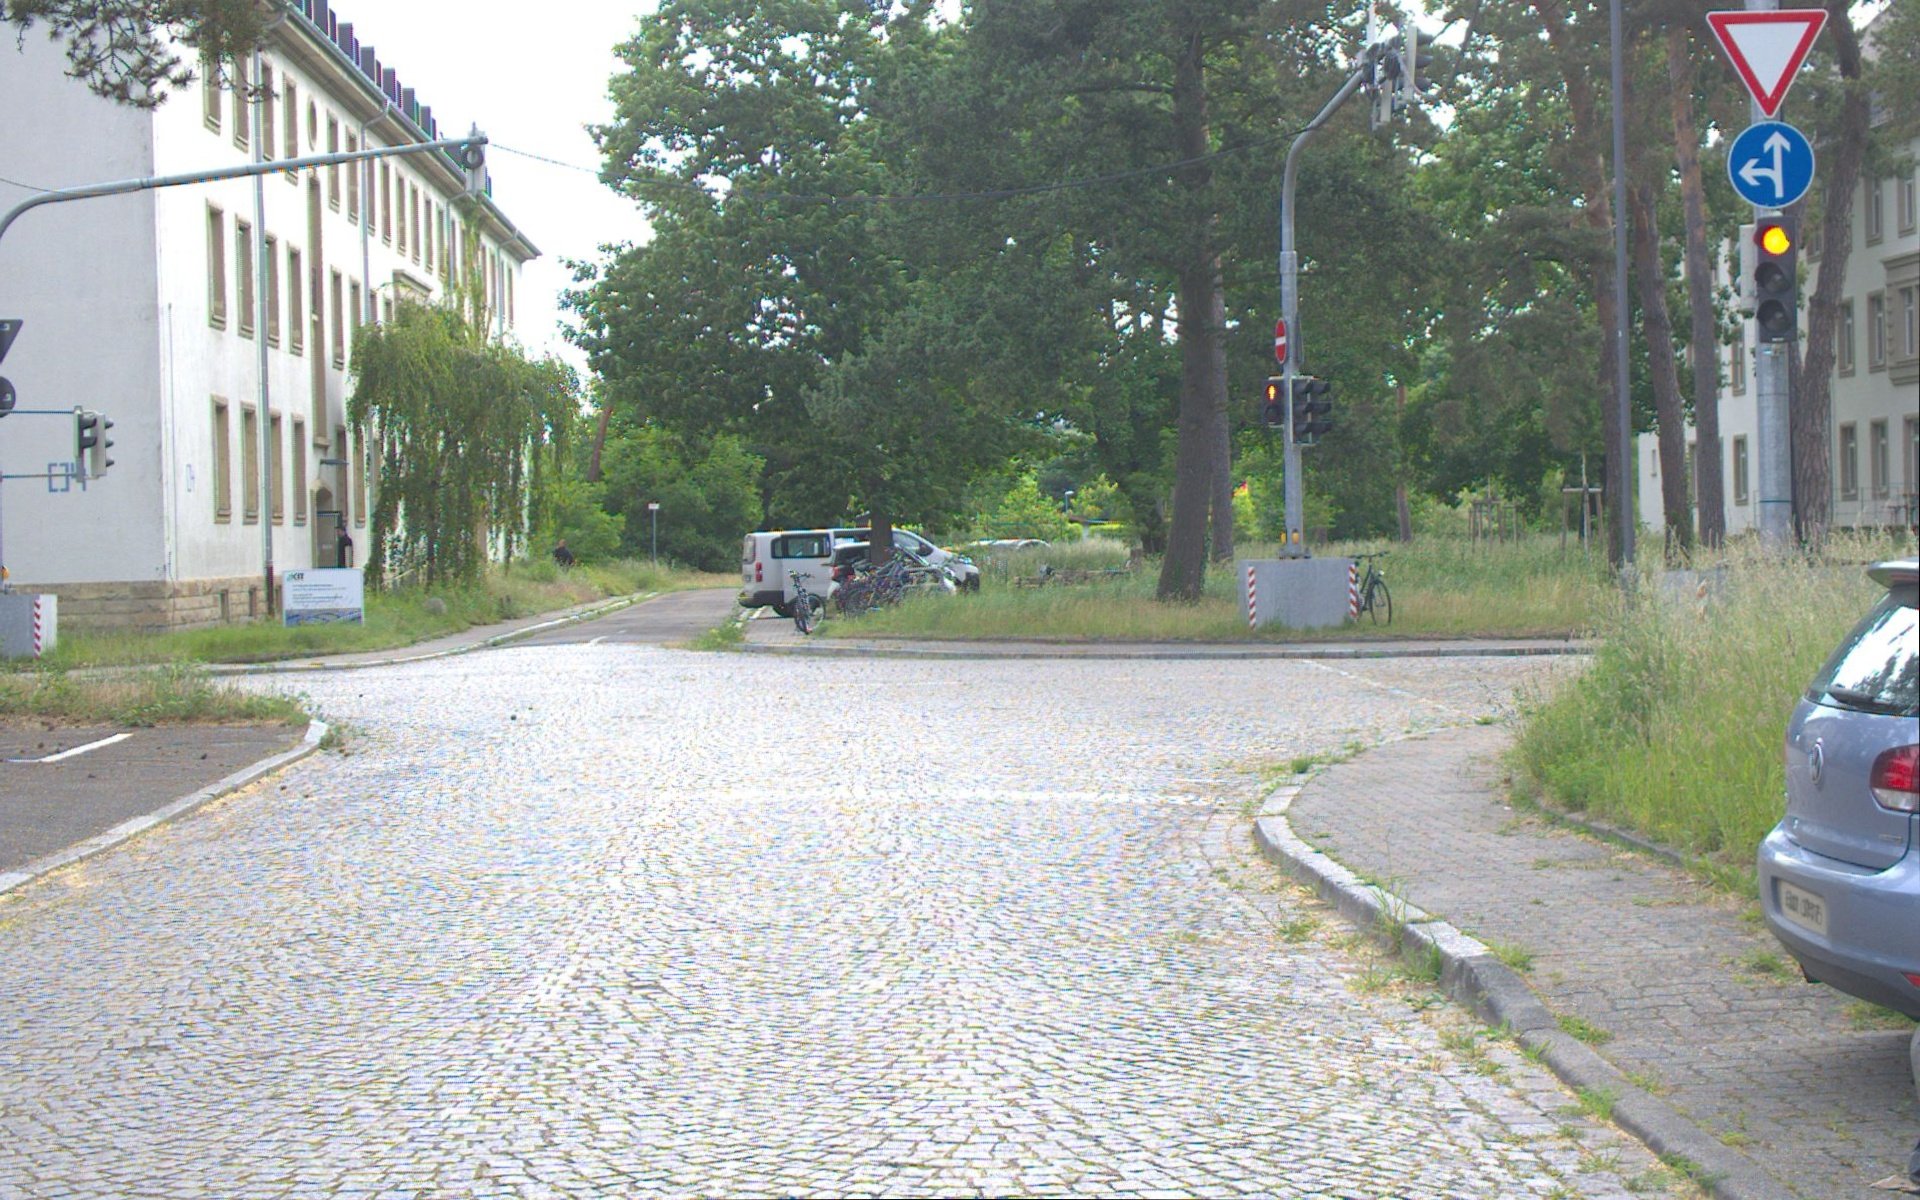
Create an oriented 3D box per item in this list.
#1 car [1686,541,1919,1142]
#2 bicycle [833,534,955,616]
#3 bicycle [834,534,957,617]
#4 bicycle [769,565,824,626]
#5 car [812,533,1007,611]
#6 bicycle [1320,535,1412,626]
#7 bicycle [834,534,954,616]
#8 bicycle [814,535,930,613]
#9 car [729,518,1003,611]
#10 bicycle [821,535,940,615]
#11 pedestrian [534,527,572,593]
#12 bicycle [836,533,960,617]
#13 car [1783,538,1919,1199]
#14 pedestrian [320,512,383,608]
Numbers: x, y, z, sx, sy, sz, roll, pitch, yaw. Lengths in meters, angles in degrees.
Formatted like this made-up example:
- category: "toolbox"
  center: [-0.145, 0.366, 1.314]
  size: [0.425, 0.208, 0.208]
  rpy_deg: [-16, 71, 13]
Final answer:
- category: "car"
  center: [4.040, 0.511, 9.232]
  size: [3.763, 1.421, 1.606]
  rpy_deg: [-2, 2, -2]
- category: "bicycle"
  center: [-1.137, -0.434, 59.572]
  size: [2.069, 1.373, 0.620]
  rpy_deg: [-1, 1, -1]
- category: "bicycle"
  center: [-1.113, -0.428, 58.948]
  size: [2.069, 1.373, 0.620]
  rpy_deg: [-1, 1, -1]
- category: "bicycle"
  center: [-2.678, -0.082, 56.451]
  size: [0.618, 0.960, 2.076]
  rpy_deg: [-1, 1, 5]
- category: "car"
  center: [-1.095, -0.604, 72.802]
  size: [3.931, 1.539, 2.000]
  rpy_deg: [-1, 1, -6]
- category: "bicycle"
  center: [5.442, -0.273, 46.143]
  size: [0.908, 1.173, 1.874]
  rpy_deg: [-1, 1, -3]
- category: "bicycle"
  center: [-1.155, -0.442, 60.351]
  size: [2.069, 1.373, 0.620]
  rpy_deg: [-1, 1, -1]
- category: "bicycle"
  center: [-1.595, -0.470, 62.644]
  size: [2.069, 1.373, 0.620]
  rpy_deg: [-1, 1, -1]
- category: "car"
  center: [-2.103, -0.789, 76.149]
  size: [5.690, 1.904, 2.231]
  rpy_deg: [-1, 1, -14]
- category: "bicycle"
  center: [-1.408, -0.454, 61.162]
  size: [2.069, 1.373, 0.620]
  rpy_deg: [-1, 1, -1]
- category: "pedestrian"
  center: [-12.486, -1.235, 105.454]
  size: [0.959, 2.007, 0.795]
  rpy_deg: [-1, 1, 8]
- category: "bicycle"
  center: [-1.047, -0.420, 58.278]
  size: [2.069, 1.373, 0.620]
  rpy_deg: [-1, 1, -1]
- category: "car"
  center: [4.217, 0.570, 6.673]
  size: [4.756, 1.477, 1.762]
  rpy_deg: [-1, 1, -5]
- category: "pedestrian"
  center: [-13.011, -0.855, 73.526]
  size: [1.087, 2.007, 1.021]
  rpy_deg: [-1, 1, 4]
